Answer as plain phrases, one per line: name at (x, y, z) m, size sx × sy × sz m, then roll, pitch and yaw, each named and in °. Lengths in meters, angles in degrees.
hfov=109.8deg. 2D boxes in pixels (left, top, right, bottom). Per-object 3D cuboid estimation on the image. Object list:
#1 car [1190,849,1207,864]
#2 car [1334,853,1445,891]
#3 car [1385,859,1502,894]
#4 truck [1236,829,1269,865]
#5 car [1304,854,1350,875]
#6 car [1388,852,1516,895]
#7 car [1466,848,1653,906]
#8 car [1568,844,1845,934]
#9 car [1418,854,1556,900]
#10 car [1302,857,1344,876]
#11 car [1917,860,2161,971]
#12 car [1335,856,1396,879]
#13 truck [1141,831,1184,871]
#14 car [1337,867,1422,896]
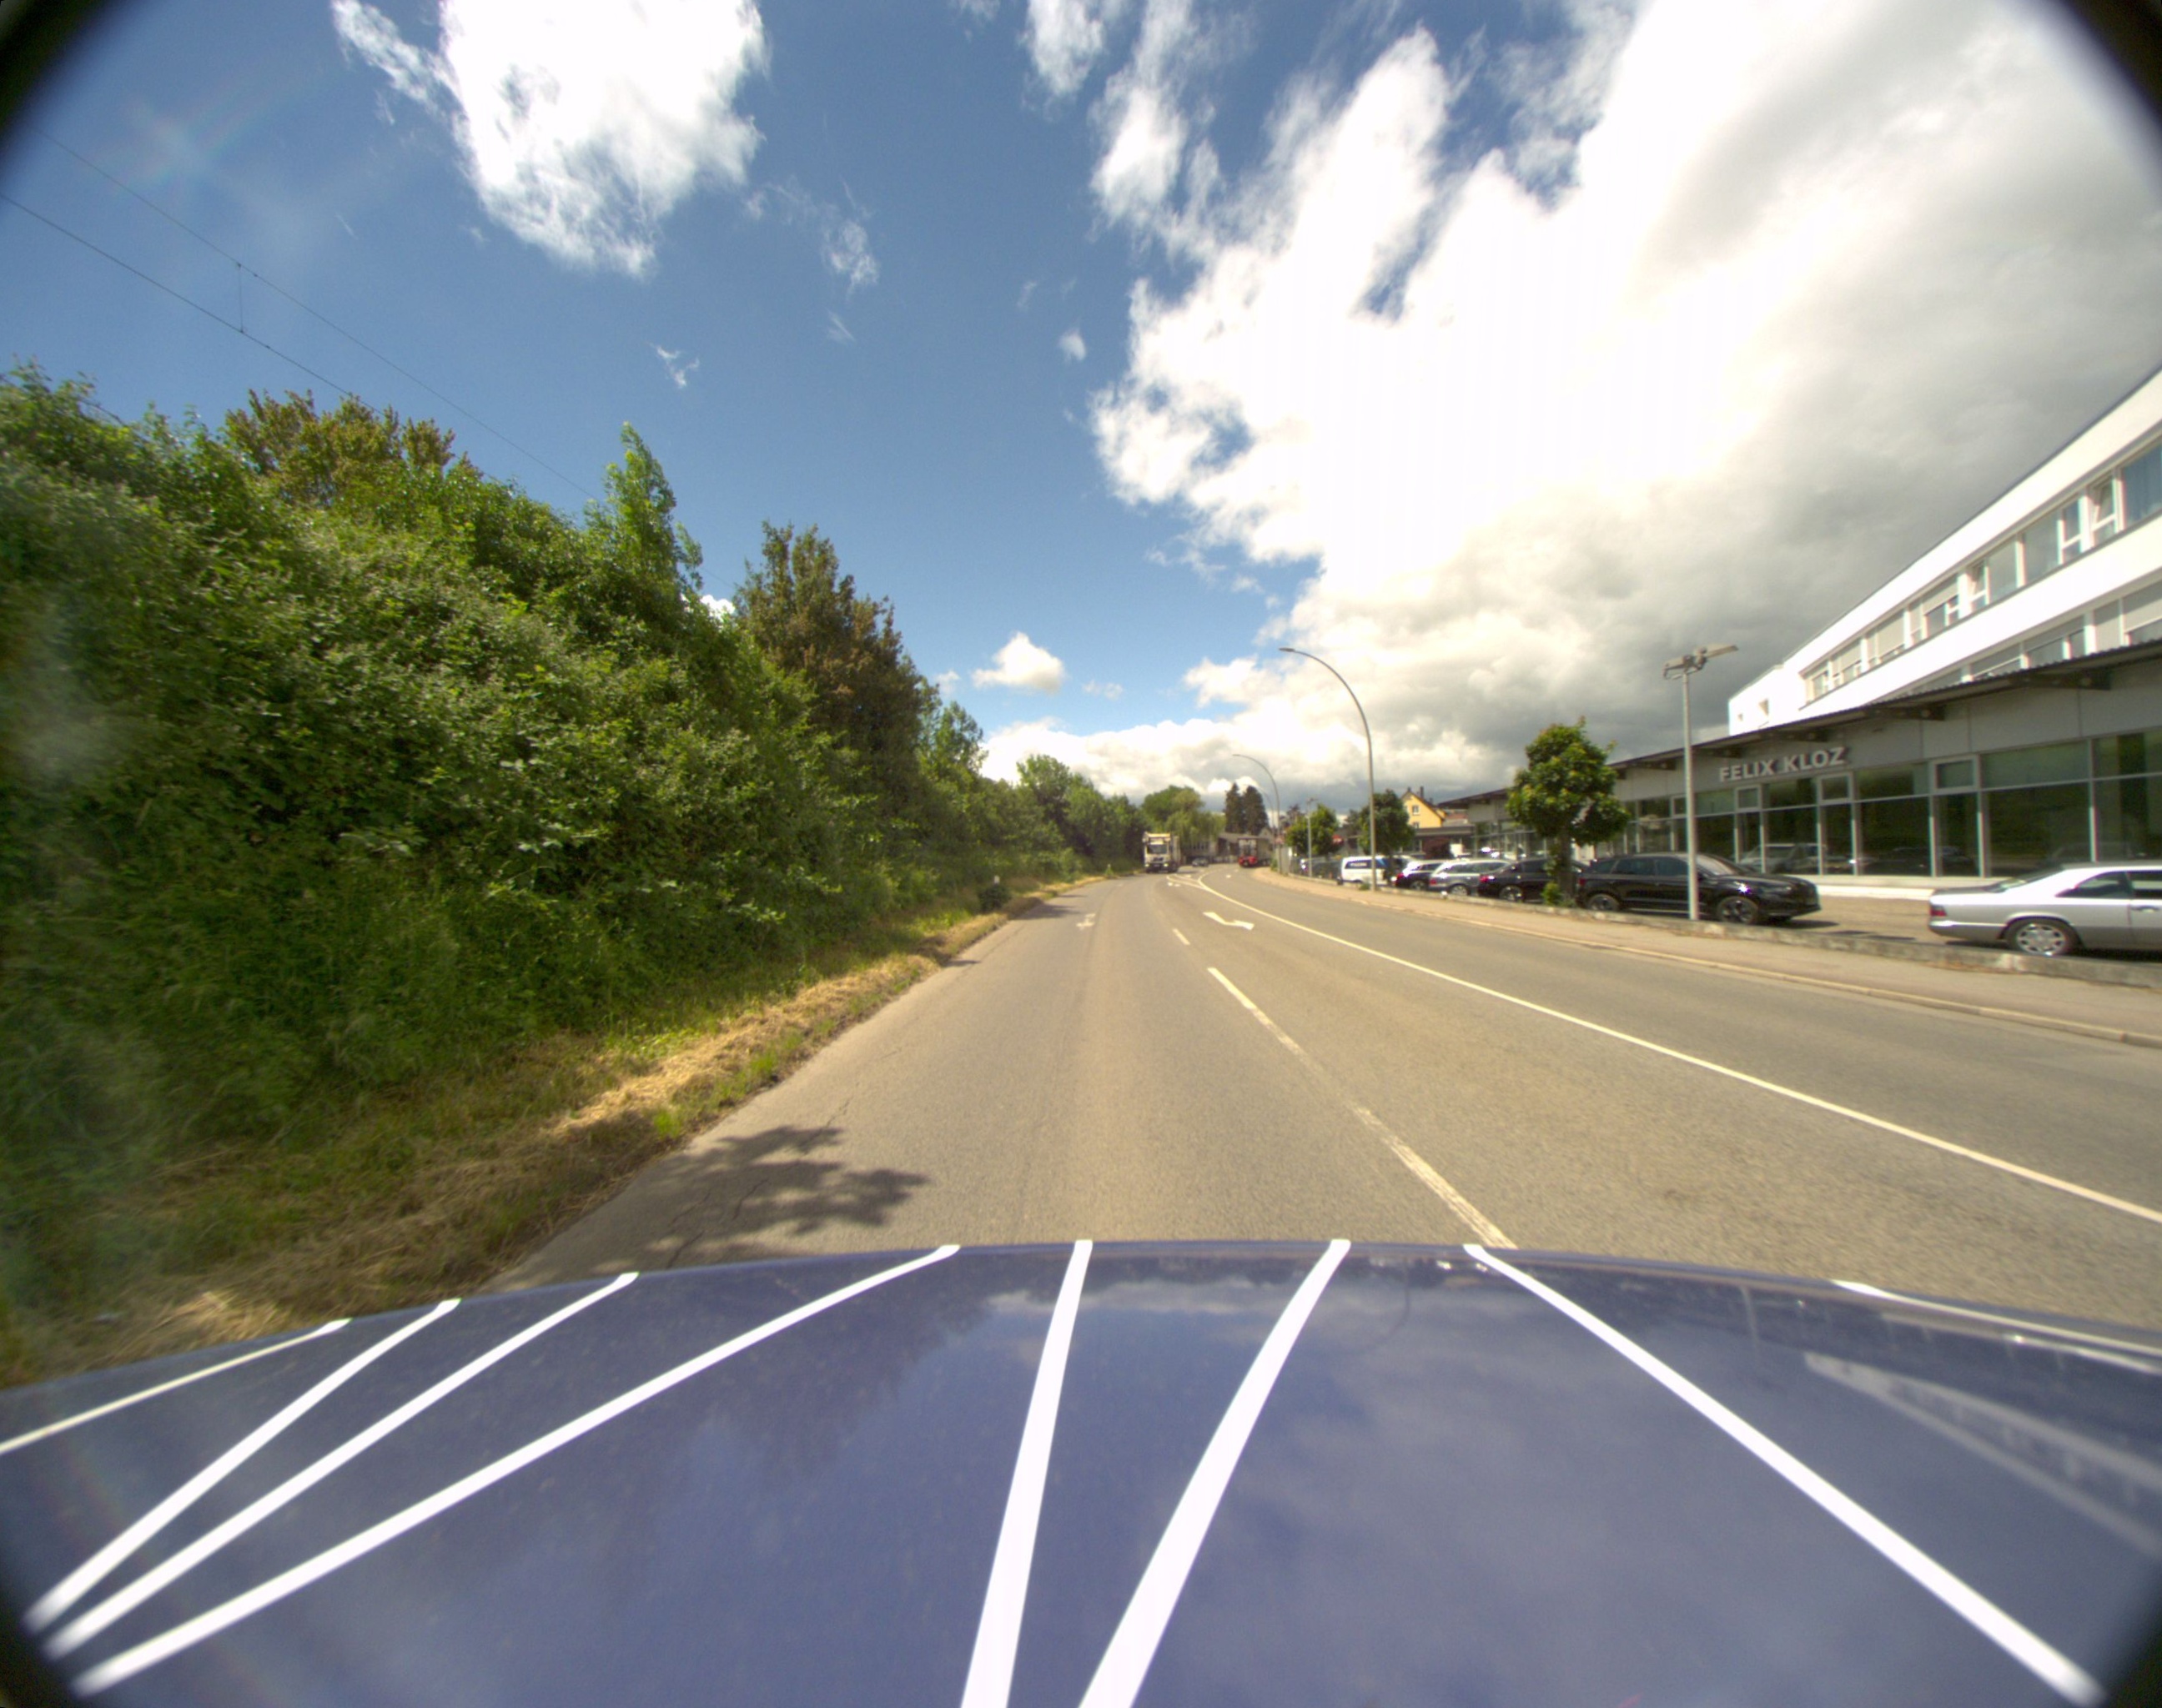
car at (16.622, 0.349, 107.529) m, size 1.952 × 2.002 × 4.004 m, roll -1°, pitch 0°, yaw 13°
car at (15.801, 0.897, 39.052) m, size 4.945 × 1.827 × 1.897 m, roll -1°, pitch 0°, yaw 39°
car at (16.398, 1.045, 34.432) m, size 4.454 × 1.321 × 1.897 m, roll -4°, pitch -2°, yaw 35°
truck at (22.908, -0.918, 101.157) m, size 2.976 × 4.634 × 8.190 m, roll -1°, pitch 0°, yaw 21°
car at (19.475, 0.825, 60.234) m, size 3.261 × 1.565 × 1.583 m, roll -1°, pitch 0°, yaw 12°
car at (15.457, 0.831, 31.734) m, size 4.497 × 1.615 × 1.808 m, roll -3°, pitch -2°, yaw 35°
car at (14.612, 0.720, 23.318) m, size 4.624 × 1.615 × 2.067 m, roll -3°, pitch -1°, yaw 37°
car at (13.728, 0.753, 17.024) m, size 1.806 × 1.615 × 4.344 m, roll -5°, pitch 0°, yaw -25°
car at (14.218, 0.796, 26.735) m, size 3.943 × 1.485 × 1.808 m, roll -1°, pitch 0°, yaw 42°
car at (20.899, 1.073, 65.727) m, size 3.261 × 1.565 × 1.583 m, roll -1°, pitch 0°, yaw 12°
car at (15.476, 0.840, 10.880) m, size 1.807 × 1.382 × 4.587 m, roll -5°, pitch 0°, yaw -40°
car at (19.809, 0.951, 53.072) m, size 3.660 × 1.454 × 1.659 m, roll -2°, pitch -1°, yaw 8°
truck at (8.200, -0.314, 75.705) m, size 2.901 × 3.746 × 9.644 m, roll -1°, pitch 0°, yaw 14°
car at (16.299, 1.524, 41.501) m, size 3.944 × 1.417 × 1.808 m, roll -3°, pitch -1°, yaw 37°
